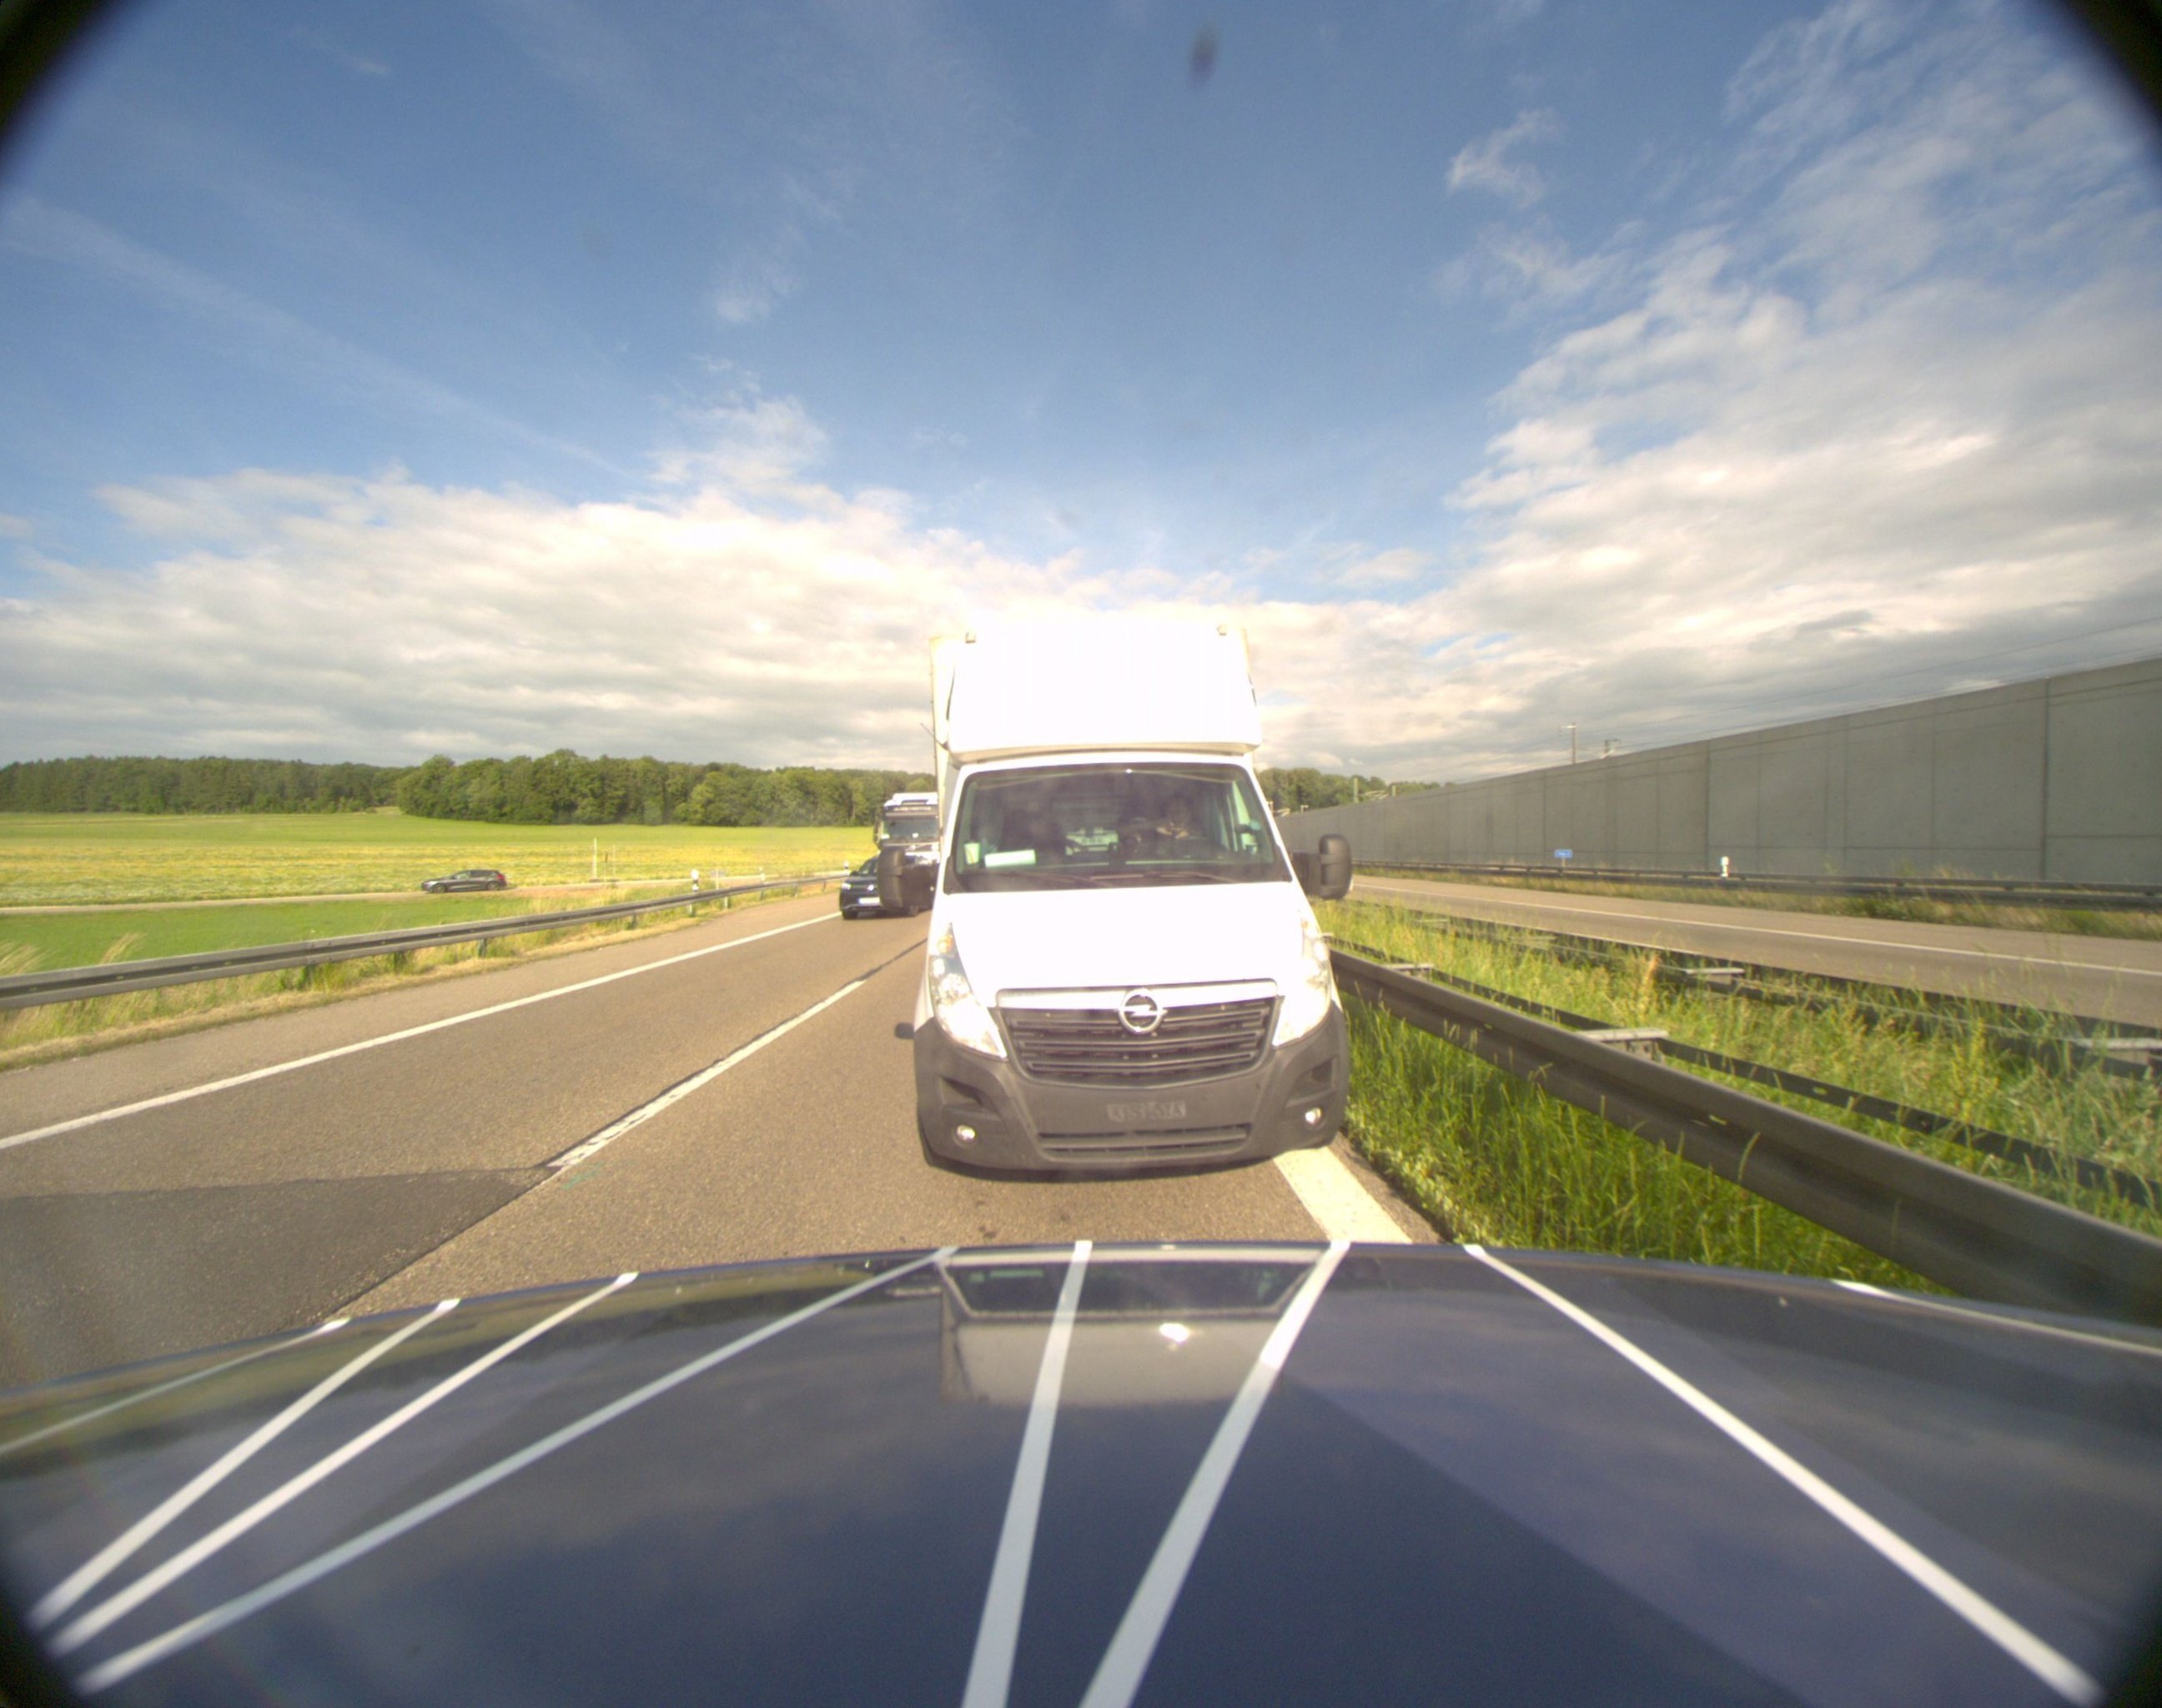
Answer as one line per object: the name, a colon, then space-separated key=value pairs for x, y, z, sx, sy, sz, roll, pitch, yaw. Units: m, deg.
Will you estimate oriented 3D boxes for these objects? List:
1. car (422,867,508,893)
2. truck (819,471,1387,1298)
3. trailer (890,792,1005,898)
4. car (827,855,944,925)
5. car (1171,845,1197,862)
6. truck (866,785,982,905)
car: x=-40.338 y=1.675 z=49.867 sx=4.228 sy=1.477 sz=1.833 roll=-3 pitch=1 yaw=-38
truck: x=0.145 y=0.089 z=6.801 sx=2.060 sy=3.088 sz=7.803 roll=-2 pitch=1 yaw=1
trailer: x=-5.702 y=-0.414 z=34.994 sx=2.826 sy=3.959 sz=12.127 roll=-2 pitch=1 yaw=1
car: x=-5.131 y=0.886 z=20.572 sx=1.998 sy=1.587 sz=4.118 roll=-2 pitch=1 yaw=1
car: x=10.308 y=-0.032 z=76.171 sx=1.998 sy=1.587 sz=4.118 roll=-2 pitch=1 yaw=1
truck: x=-5.780 y=-0.343 z=29.140 sx=2.842 sy=3.967 sz=6.500 roll=-2 pitch=1 yaw=1
